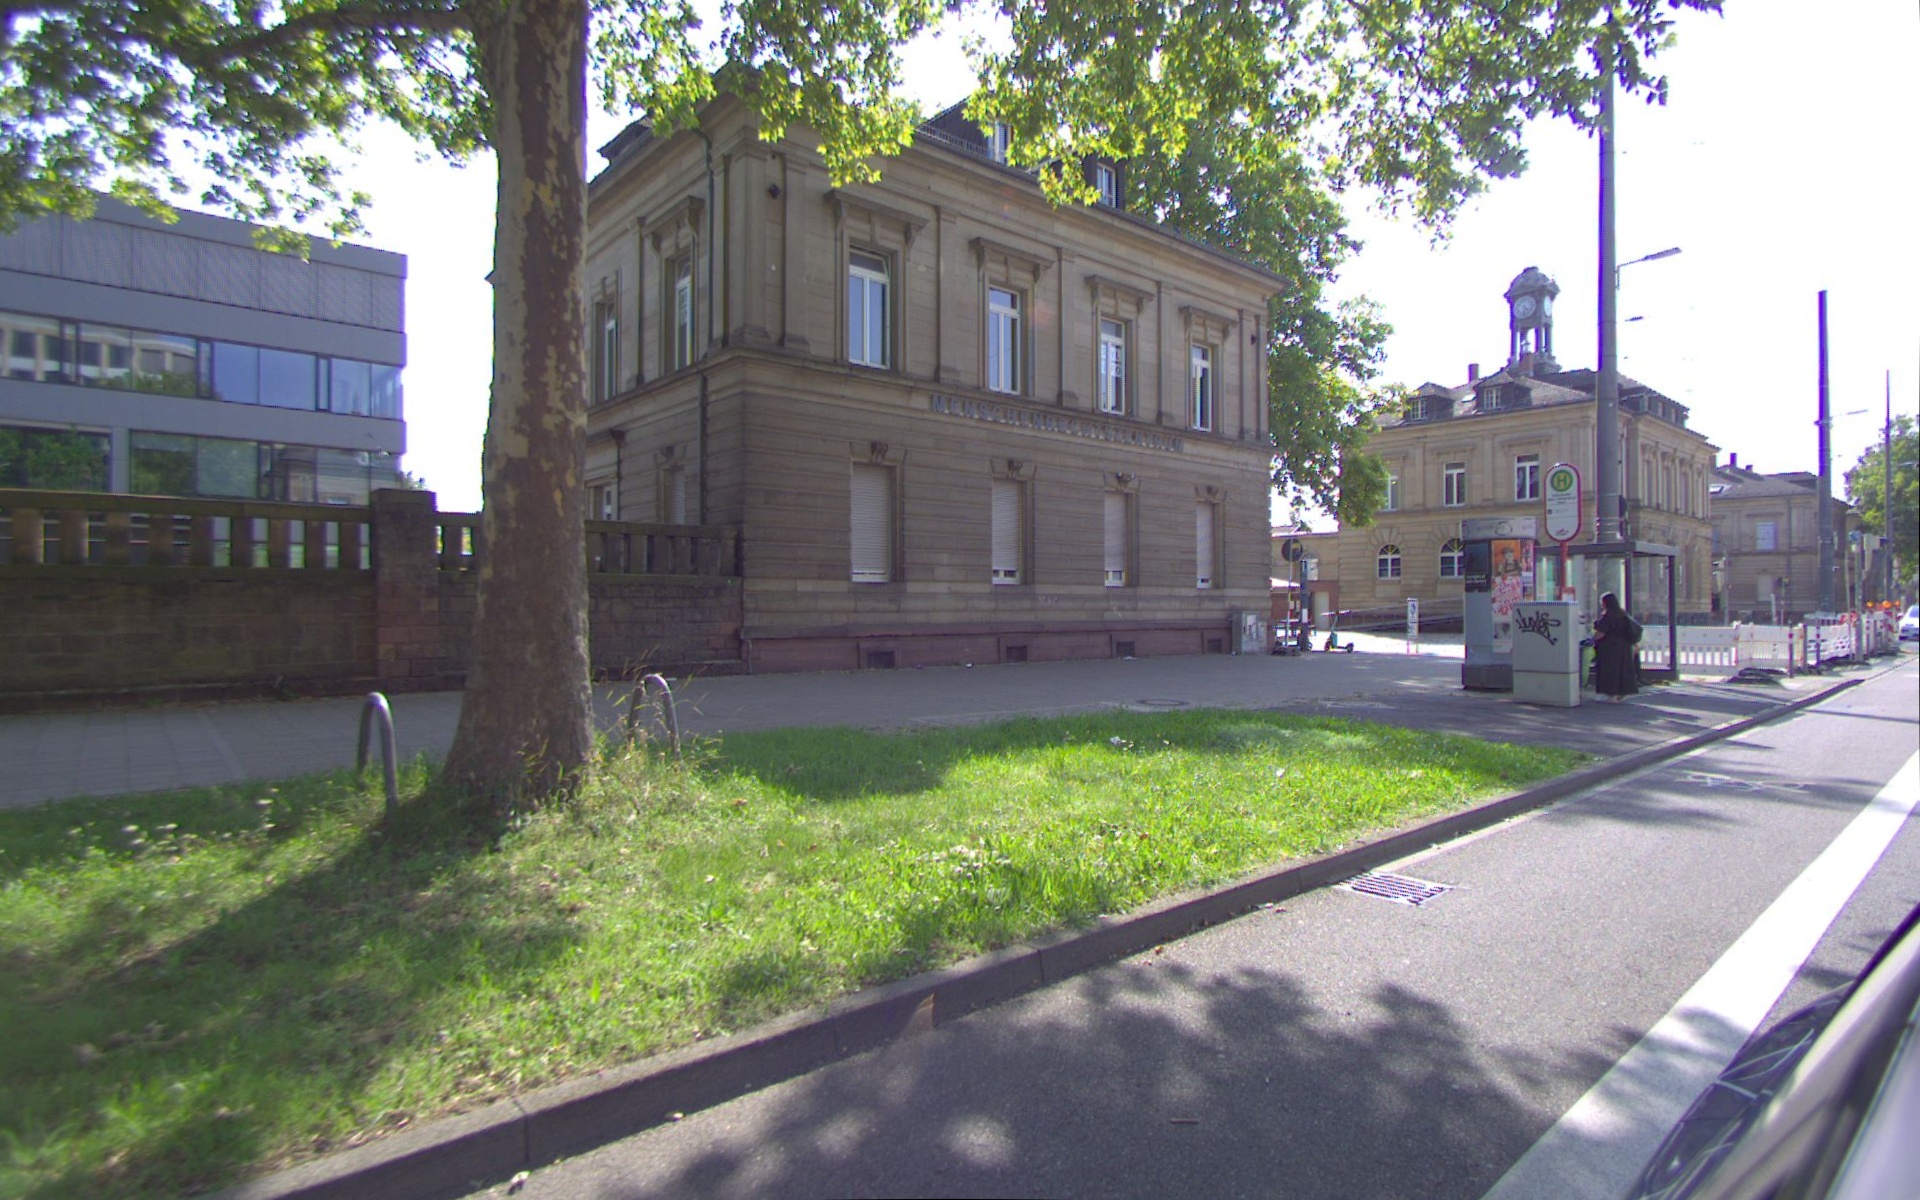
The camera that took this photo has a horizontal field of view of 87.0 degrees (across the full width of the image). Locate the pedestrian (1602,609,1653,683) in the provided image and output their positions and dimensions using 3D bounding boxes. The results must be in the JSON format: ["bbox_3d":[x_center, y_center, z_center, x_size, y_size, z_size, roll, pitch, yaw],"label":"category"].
[{"bbox_3d":[11.575,0.786,17.543,0.564,1.233,0.609,1,1,-43],"label":"pedestrian"}]

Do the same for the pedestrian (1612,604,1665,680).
[{"bbox_3d":[12.146,0.733,18.110,0.746,1.293,0.609,0,1,-43],"label":"pedestrian"}]

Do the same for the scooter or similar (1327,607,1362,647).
[{"bbox_3d":[11.712,0.819,30.808,1.203,1.181,0.410,0,0,-36],"label":"scooter or similar"}]

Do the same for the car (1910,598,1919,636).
[{"bbox_3d":[40.015,0.686,40.972,3.929,1.478,1.843,0,0,-40],"label":"car"}]

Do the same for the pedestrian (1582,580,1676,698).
[{"bbox_3d":[9.607,0.539,14.567,0.870,1.646,0.820,0,-1,11],"label":"pedestrian"}]

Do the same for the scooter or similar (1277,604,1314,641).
[{"bbox_3d":[10.516,0.697,31.742,0.307,1.147,1.092,1,0,-43],"label":"scooter or similar"}]

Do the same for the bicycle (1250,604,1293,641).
[{"bbox_3d":[10.255,0.729,33.277,1.598,1.181,0.499,0,0,-36],"label":"bicycle"}]
